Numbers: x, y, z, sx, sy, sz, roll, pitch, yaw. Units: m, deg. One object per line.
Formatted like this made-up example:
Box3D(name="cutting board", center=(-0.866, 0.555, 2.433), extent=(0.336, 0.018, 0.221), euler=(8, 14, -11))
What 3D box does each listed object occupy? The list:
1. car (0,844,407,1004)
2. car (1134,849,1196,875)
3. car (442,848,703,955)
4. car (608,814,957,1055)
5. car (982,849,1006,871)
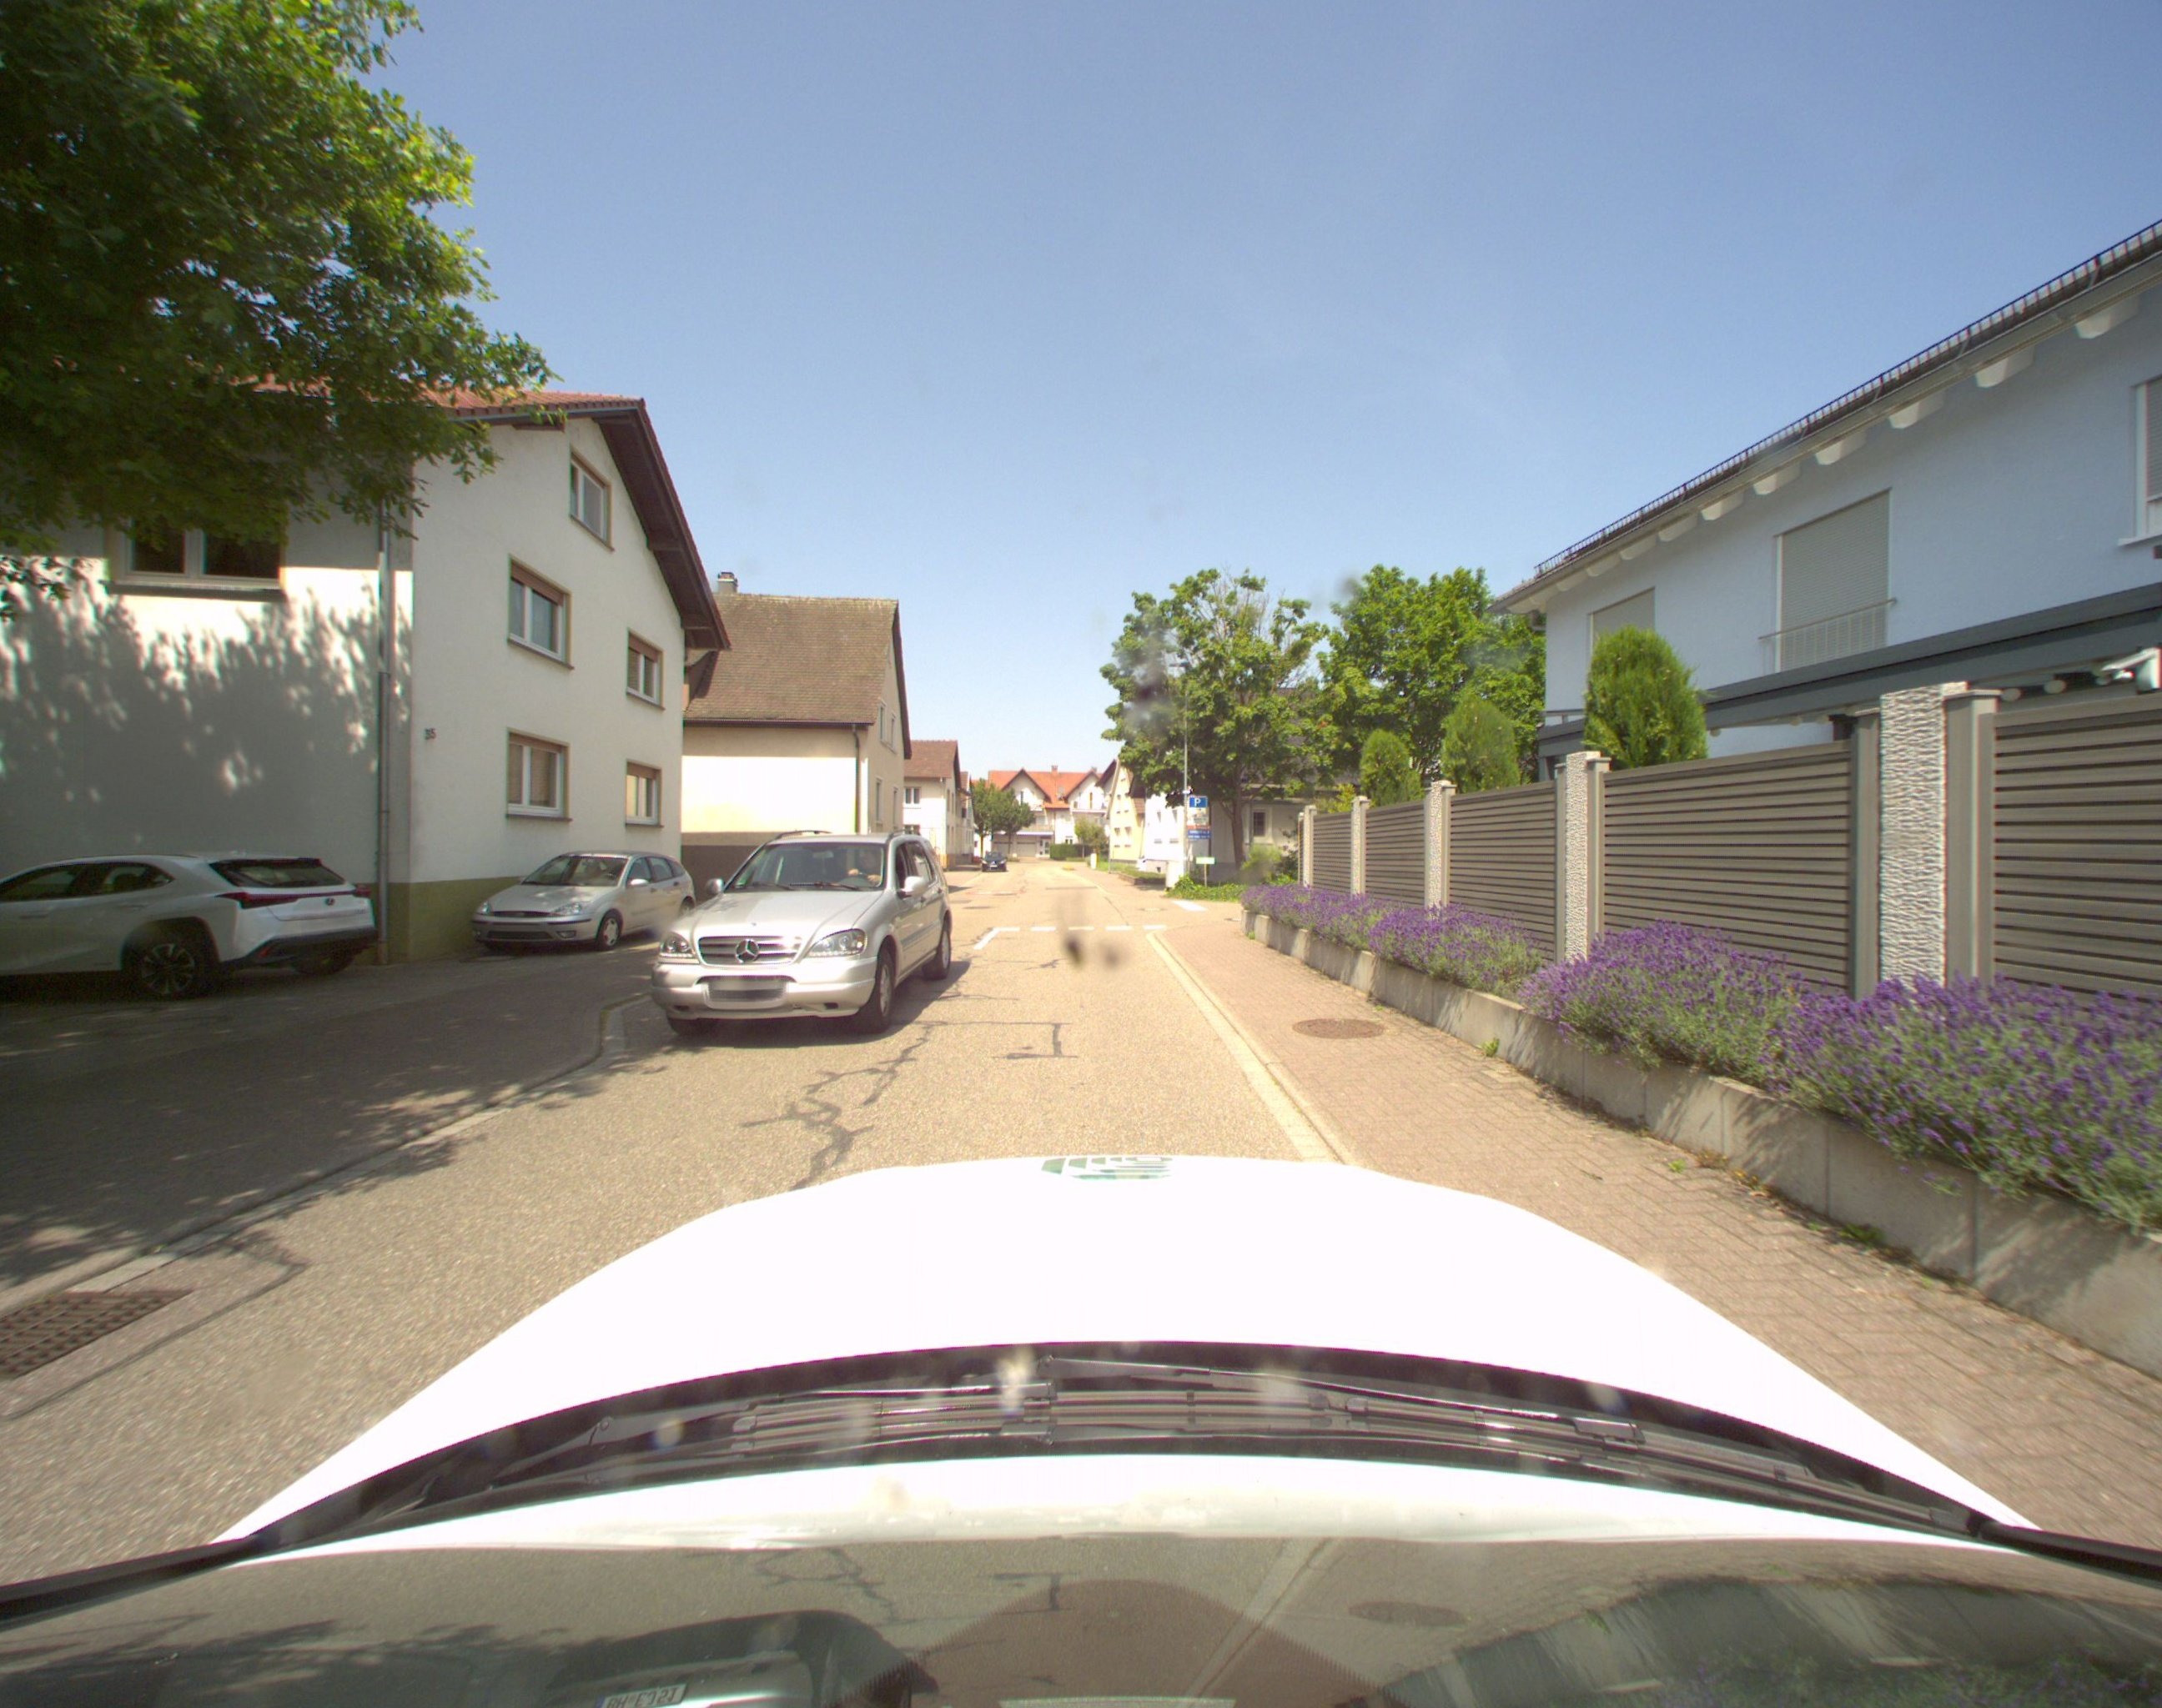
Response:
Box3D(name="car", center=(-10.381, 0.709, 9.063), extent=(4.149, 1.538, 1.772), euler=(-1, 0, -2))
Box3D(name="car", center=(4.499, 0.411, 43.825), extent=(3.044, 1.345, 1.417), euler=(0, -1, -12))
Box3D(name="car", center=(-7.833, 0.632, 13.083), extent=(1.774, 1.434, 4.052), euler=(1, 1, -3))
Box3D(name="car", center=(-2.564, 0.580, 8.273), extent=(1.879, 1.767, 4.331), euler=(-1, 1, 0))
Box3D(name="car", center=(-6.233, 0.379, 58.422), extent=(1.624, 1.486, 3.992), euler=(-1, 0, -5))
